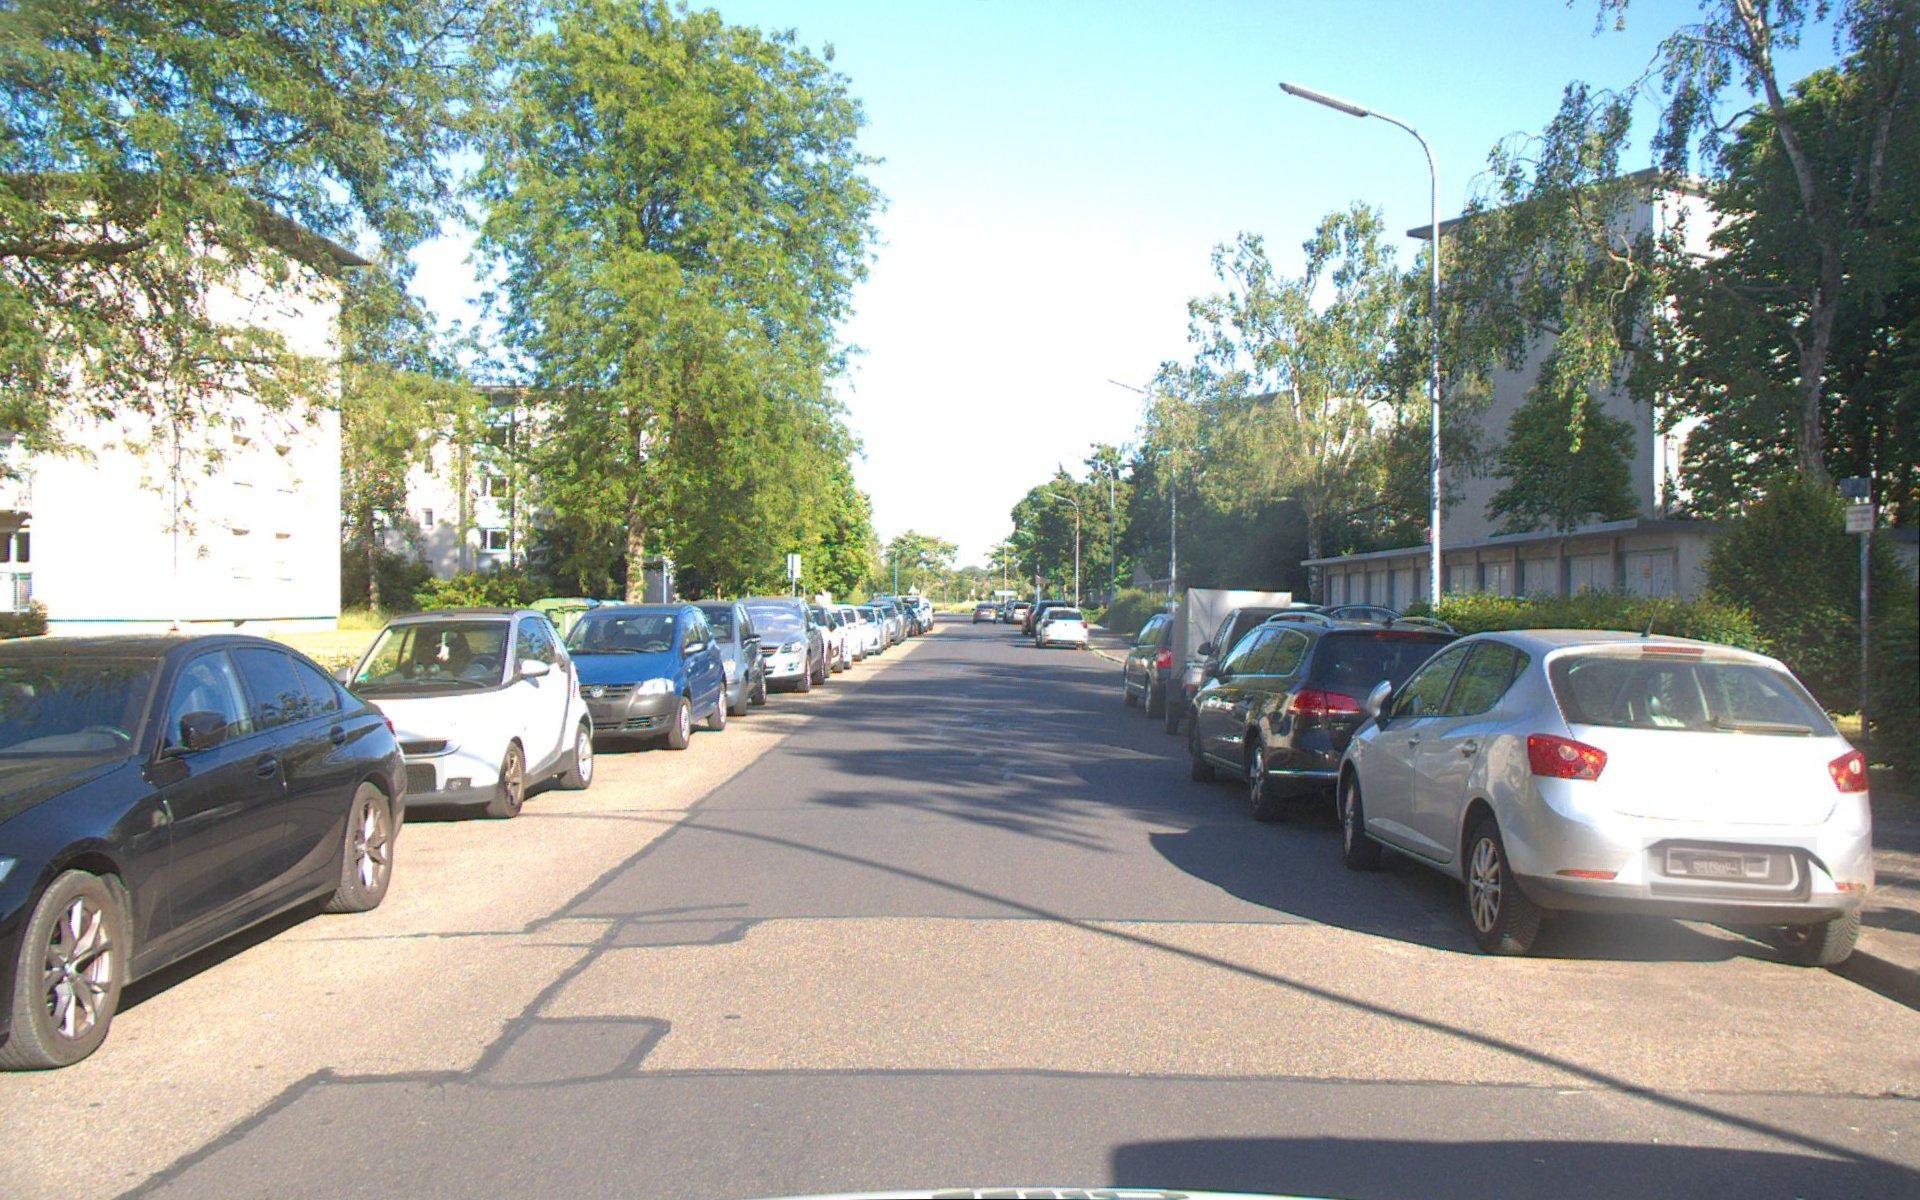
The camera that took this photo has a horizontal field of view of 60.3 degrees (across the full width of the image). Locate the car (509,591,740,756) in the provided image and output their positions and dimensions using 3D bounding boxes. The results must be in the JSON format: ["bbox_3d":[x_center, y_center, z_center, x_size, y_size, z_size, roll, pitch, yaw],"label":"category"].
[{"bbox_3d":[-3.721,0.760,19.011,1.718,1.634,3.969,-2,0,1],"label":"car"}]

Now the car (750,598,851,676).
[{"bbox_3d":[-3.334,0.747,35.106,1.628,1.540,3.946,-1,0,1],"label":"car"}]

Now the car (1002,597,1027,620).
[{"bbox_3d":[4.512,0.706,137.173,1.759,1.818,3.950,1,0,-2],"label":"car"}]

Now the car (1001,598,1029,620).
[{"bbox_3d":[3.994,0.646,121.266,1.759,1.589,3.950,1,0,-2],"label":"car"}]

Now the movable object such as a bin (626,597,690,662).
[{"bbox_3d":[-6.968,0.669,38.188,1.112,1.407,1.442,3,0,2],"label":"movable object such as a bin"}]

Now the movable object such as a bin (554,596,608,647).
[{"bbox_3d":[-11.233,0.631,49.119,1.153,1.445,1.463,3,0,2],"label":"movable object such as a bin"}]

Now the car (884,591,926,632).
[{"bbox_3d":[-2.783,0.575,84.314,1.875,1.997,5.088,-1,0,1],"label":"car"}]

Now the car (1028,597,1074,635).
[{"bbox_3d":[4.116,0.700,75.191,1.869,1.668,4.628,1,0,0],"label":"car"}]

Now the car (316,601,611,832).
[{"bbox_3d":[-3.892,0.838,13.439,1.415,1.601,3.142,-2,0,-1],"label":"car"}]

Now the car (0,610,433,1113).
[{"bbox_3d":[-3.815,0.839,6.976,1.718,1.506,4.537,-2,0,-1],"label":"car"}]

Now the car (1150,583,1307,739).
[{"bbox_3d":[3.222,0.702,20.220,1.458,1.748,2.583,1,0,0],"label":"car"}]

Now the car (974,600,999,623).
[{"bbox_3d":[1.904,0.816,120.040,1.646,1.540,4.102,2,0,-2],"label":"car"}]

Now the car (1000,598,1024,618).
[{"bbox_3d":[4.430,0.653,141.796,1.759,1.672,3.950,1,0,-2],"label":"car"}]

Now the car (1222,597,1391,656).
[{"bbox_3d":[9.574,0.725,45.949,4.324,1.540,1.829,-1,0,1],"label":"car"}]

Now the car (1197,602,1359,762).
[{"bbox_3d":[3.348,0.821,17.751,1.385,1.550,2.559,1,0,4],"label":"car"}]

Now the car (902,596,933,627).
[{"bbox_3d":[-2.497,0.693,98.104,1.710,1.762,4.005,-1,0,0],"label":"car"}]

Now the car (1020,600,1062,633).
[{"bbox_3d":[3.957,0.799,81.041,1.869,1.557,4.328,1,0,0],"label":"car"}]

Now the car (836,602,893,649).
[{"bbox_3d":[-3.299,0.867,57.699,1.652,1.490,4.525,-2,0,0],"label":"car"}]

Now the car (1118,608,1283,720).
[{"bbox_3d":[3.412,0.870,24.099,1.697,1.428,3.893,2,0,-2],"label":"car"}]

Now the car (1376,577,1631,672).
[{"bbox_3d":[9.501,0.418,29.121,3.863,1.540,1.828,-1,0,-3],"label":"car"}]

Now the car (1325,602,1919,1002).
[{"bbox_3d":[3.129,0.793,8.465,1.590,1.516,4.036,1,0,0],"label":"car"}]

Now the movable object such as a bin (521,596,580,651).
[{"bbox_3d":[-11.365,0.635,45.964,1.153,1.445,1.463,3,0,2],"label":"movable object such as a bin"}]

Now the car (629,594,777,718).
[{"bbox_3d":[-3.657,0.756,24.045,1.602,1.634,3.534,-1,0,-1],"label":"car"}]

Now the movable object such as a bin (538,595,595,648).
[{"bbox_3d":[-11.313,0.619,47.599,1.153,1.445,1.463,3,0,2],"label":"movable object such as a bin"}]

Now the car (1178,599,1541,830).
[{"bbox_3d":[2.977,0.766,13.332,1.697,1.516,4.499,-1,0,-2],"label":"car"}]

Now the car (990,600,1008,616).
[{"bbox_3d":[4.158,0.838,176.668,1.759,1.576,3.950,1,0,-2],"label":"car"}]

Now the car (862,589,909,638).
[{"bbox_3d":[-3.088,0.541,69.035,1.817,1.925,4.417,-1,0,-1],"label":"car"}]

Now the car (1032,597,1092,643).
[{"bbox_3d":[3.591,0.692,58.947,1.718,1.540,4.102,2,0,-2],"label":"car"}]

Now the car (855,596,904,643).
[{"bbox_3d":[-3.038,0.718,62.693,1.675,1.628,3.985,-2,0,-1],"label":"car"}]

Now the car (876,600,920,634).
[{"bbox_3d":[-2.909,0.784,78.129,1.710,1.560,4.140,-1,0,3],"label":"car"}]

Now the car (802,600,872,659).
[{"bbox_3d":[-3.403,0.803,46.449,1.652,1.562,3.890,-1,0,0],"label":"car"}]

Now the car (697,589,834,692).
[{"bbox_3d":[-3.392,0.665,29.580,1.864,1.668,4.349,-1,0,0],"label":"car"}]

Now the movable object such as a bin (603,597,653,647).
[{"bbox_3d":[-9.962,0.655,49.689,1.111,1.445,1.361,3,0,2],"label":"movable object such as a bin"}]

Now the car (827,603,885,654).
[{"bbox_3d":[-3.245,0.867,52.149,1.652,1.532,3.817,-1,0,-1],"label":"car"}]

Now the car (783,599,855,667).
[{"bbox_3d":[-3.427,0.760,39.979,1.630,1.540,3.533,-1,0,-6],"label":"car"}]

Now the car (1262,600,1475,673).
[{"bbox_3d":[9.243,0.806,37.662,4.420,1.540,1.829,-1,0,2],"label":"car"}]
